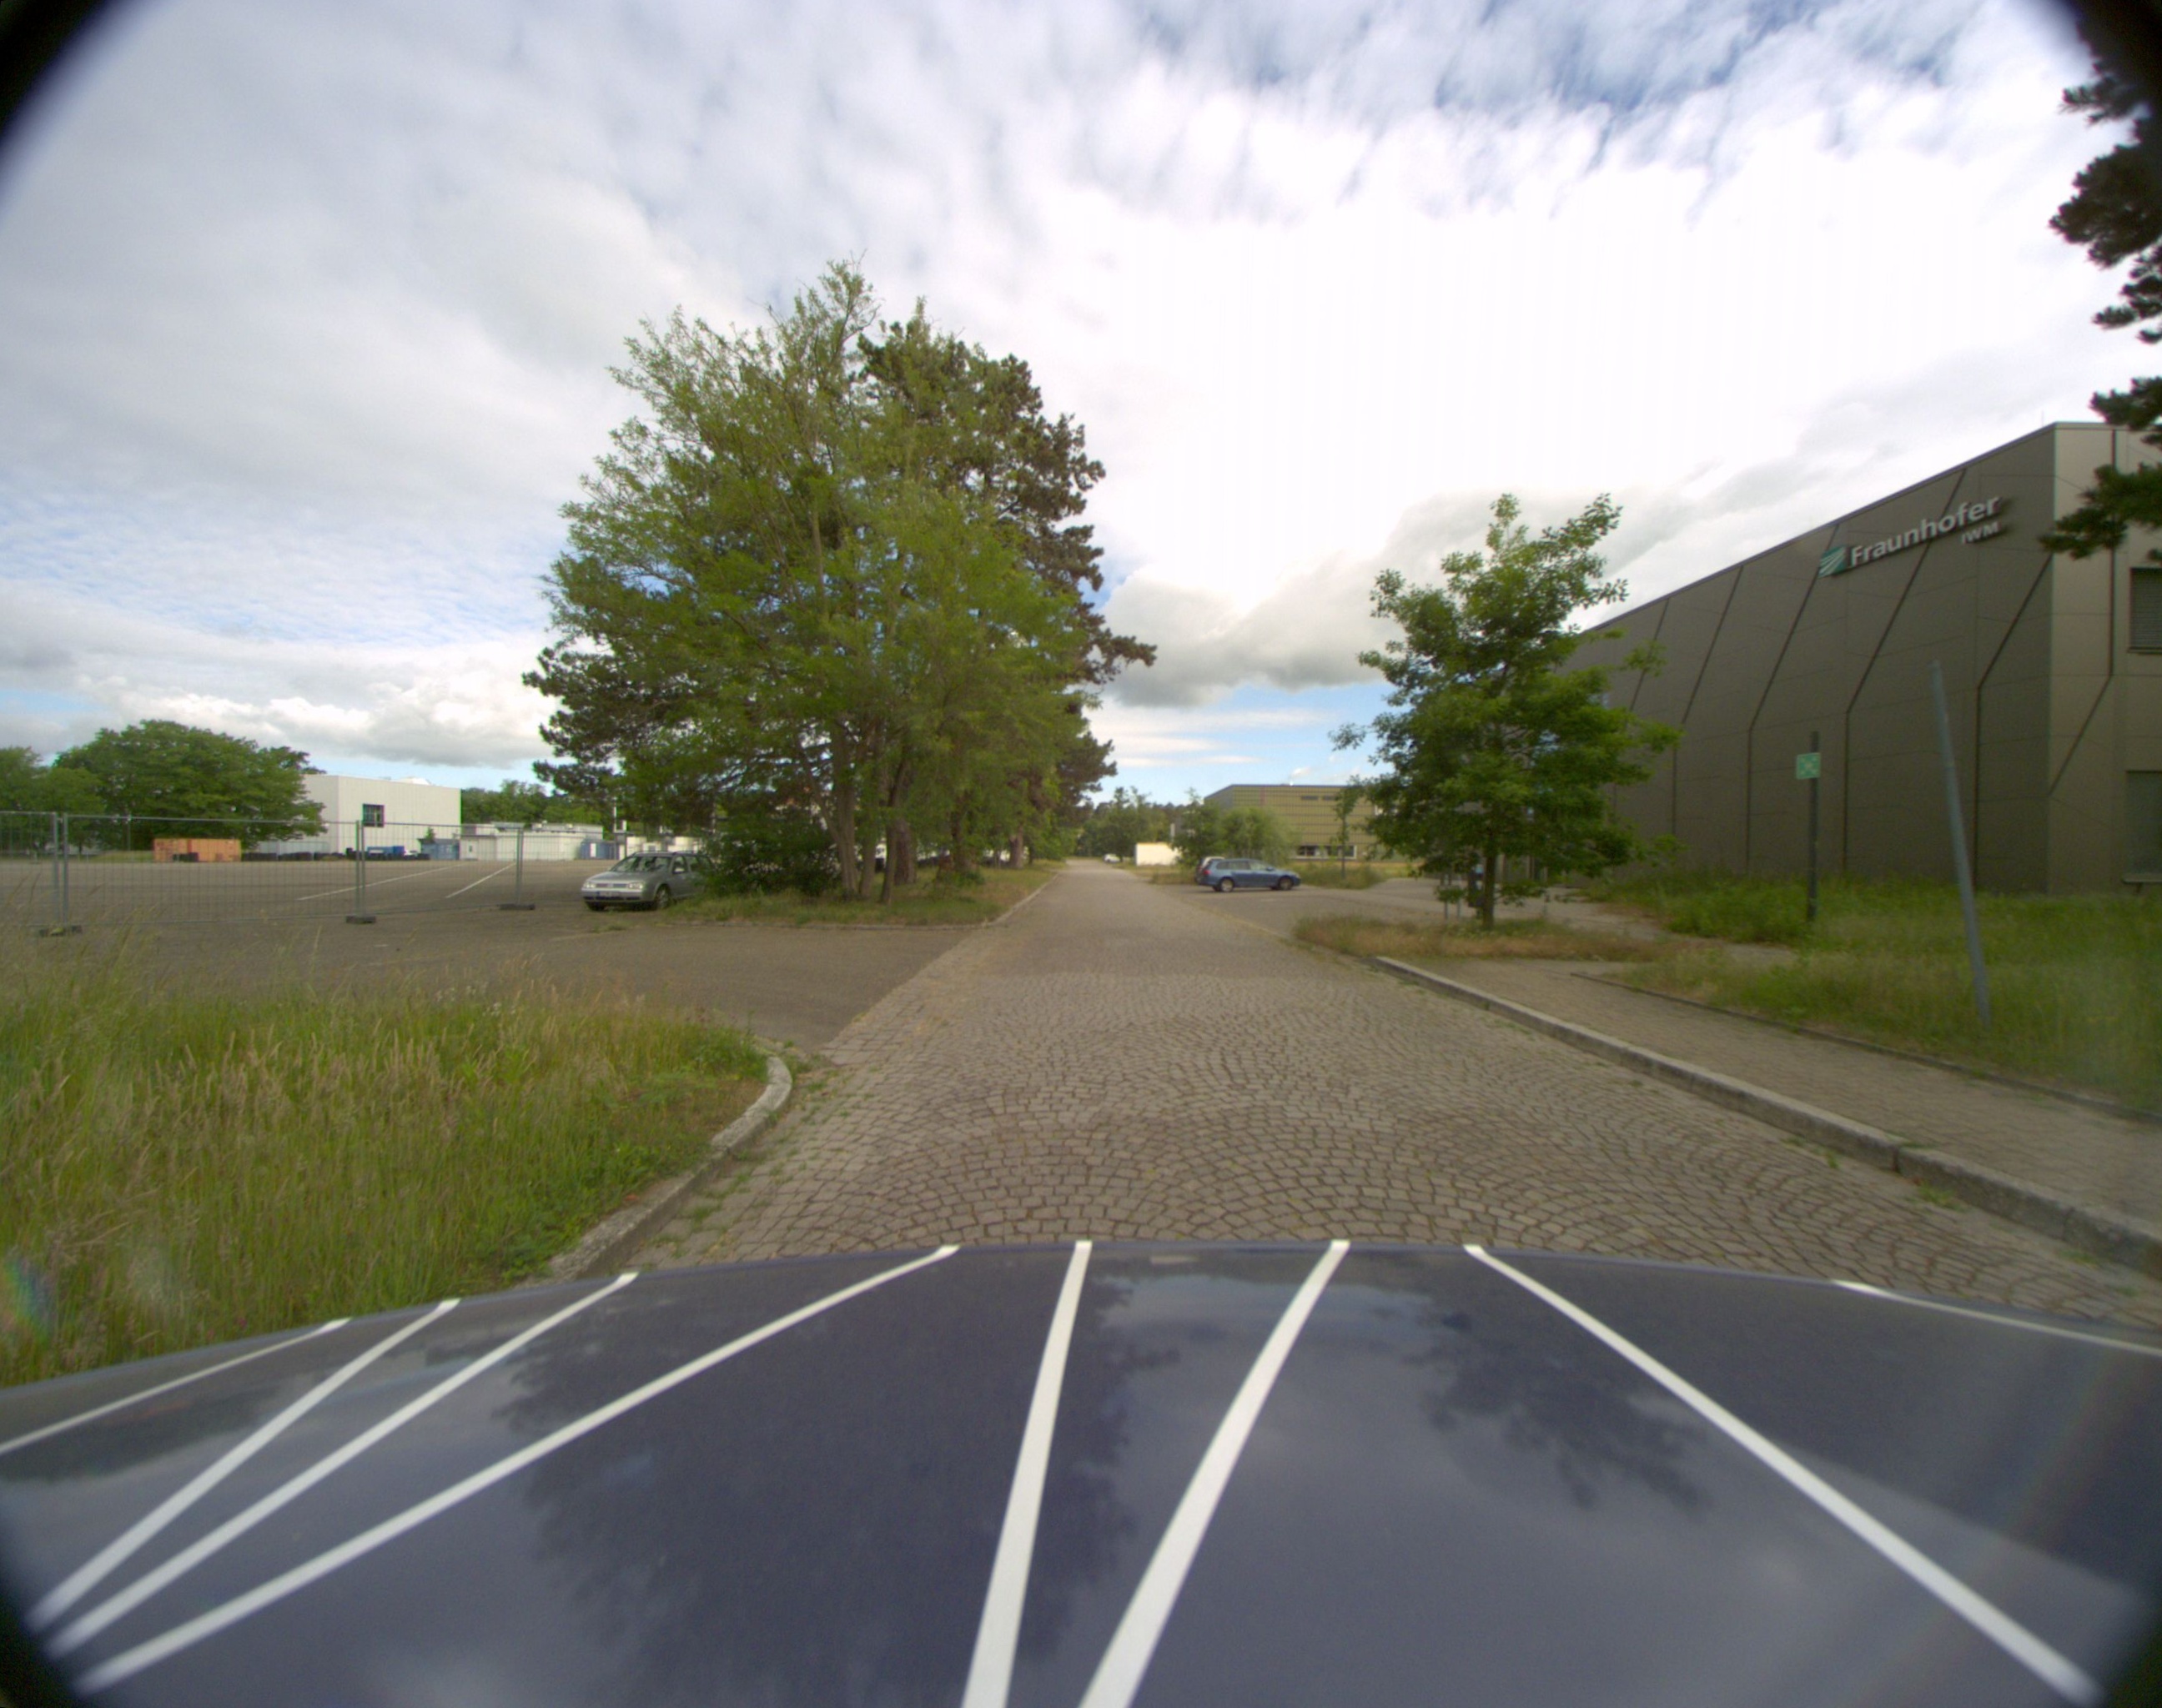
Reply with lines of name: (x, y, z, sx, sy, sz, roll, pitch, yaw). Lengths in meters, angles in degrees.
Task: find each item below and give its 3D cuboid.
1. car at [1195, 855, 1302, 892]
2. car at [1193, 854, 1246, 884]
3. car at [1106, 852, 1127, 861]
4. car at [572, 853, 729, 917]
car: (7.507, 0.867, 34.261, 4.427, 1.461, 1.633, -2, 1, -2)
car: (7.544, 0.797, 41.630, 2.584, 1.521, 1.500, -2, 1, -2)
car: (7.205, 0.426, 154.062, 4.062, 1.767, 1.792, 0, 1, 0)
car: (-11.002, 0.711, 19.846, 1.678, 1.442, 4.488, 0, 1, -2)
